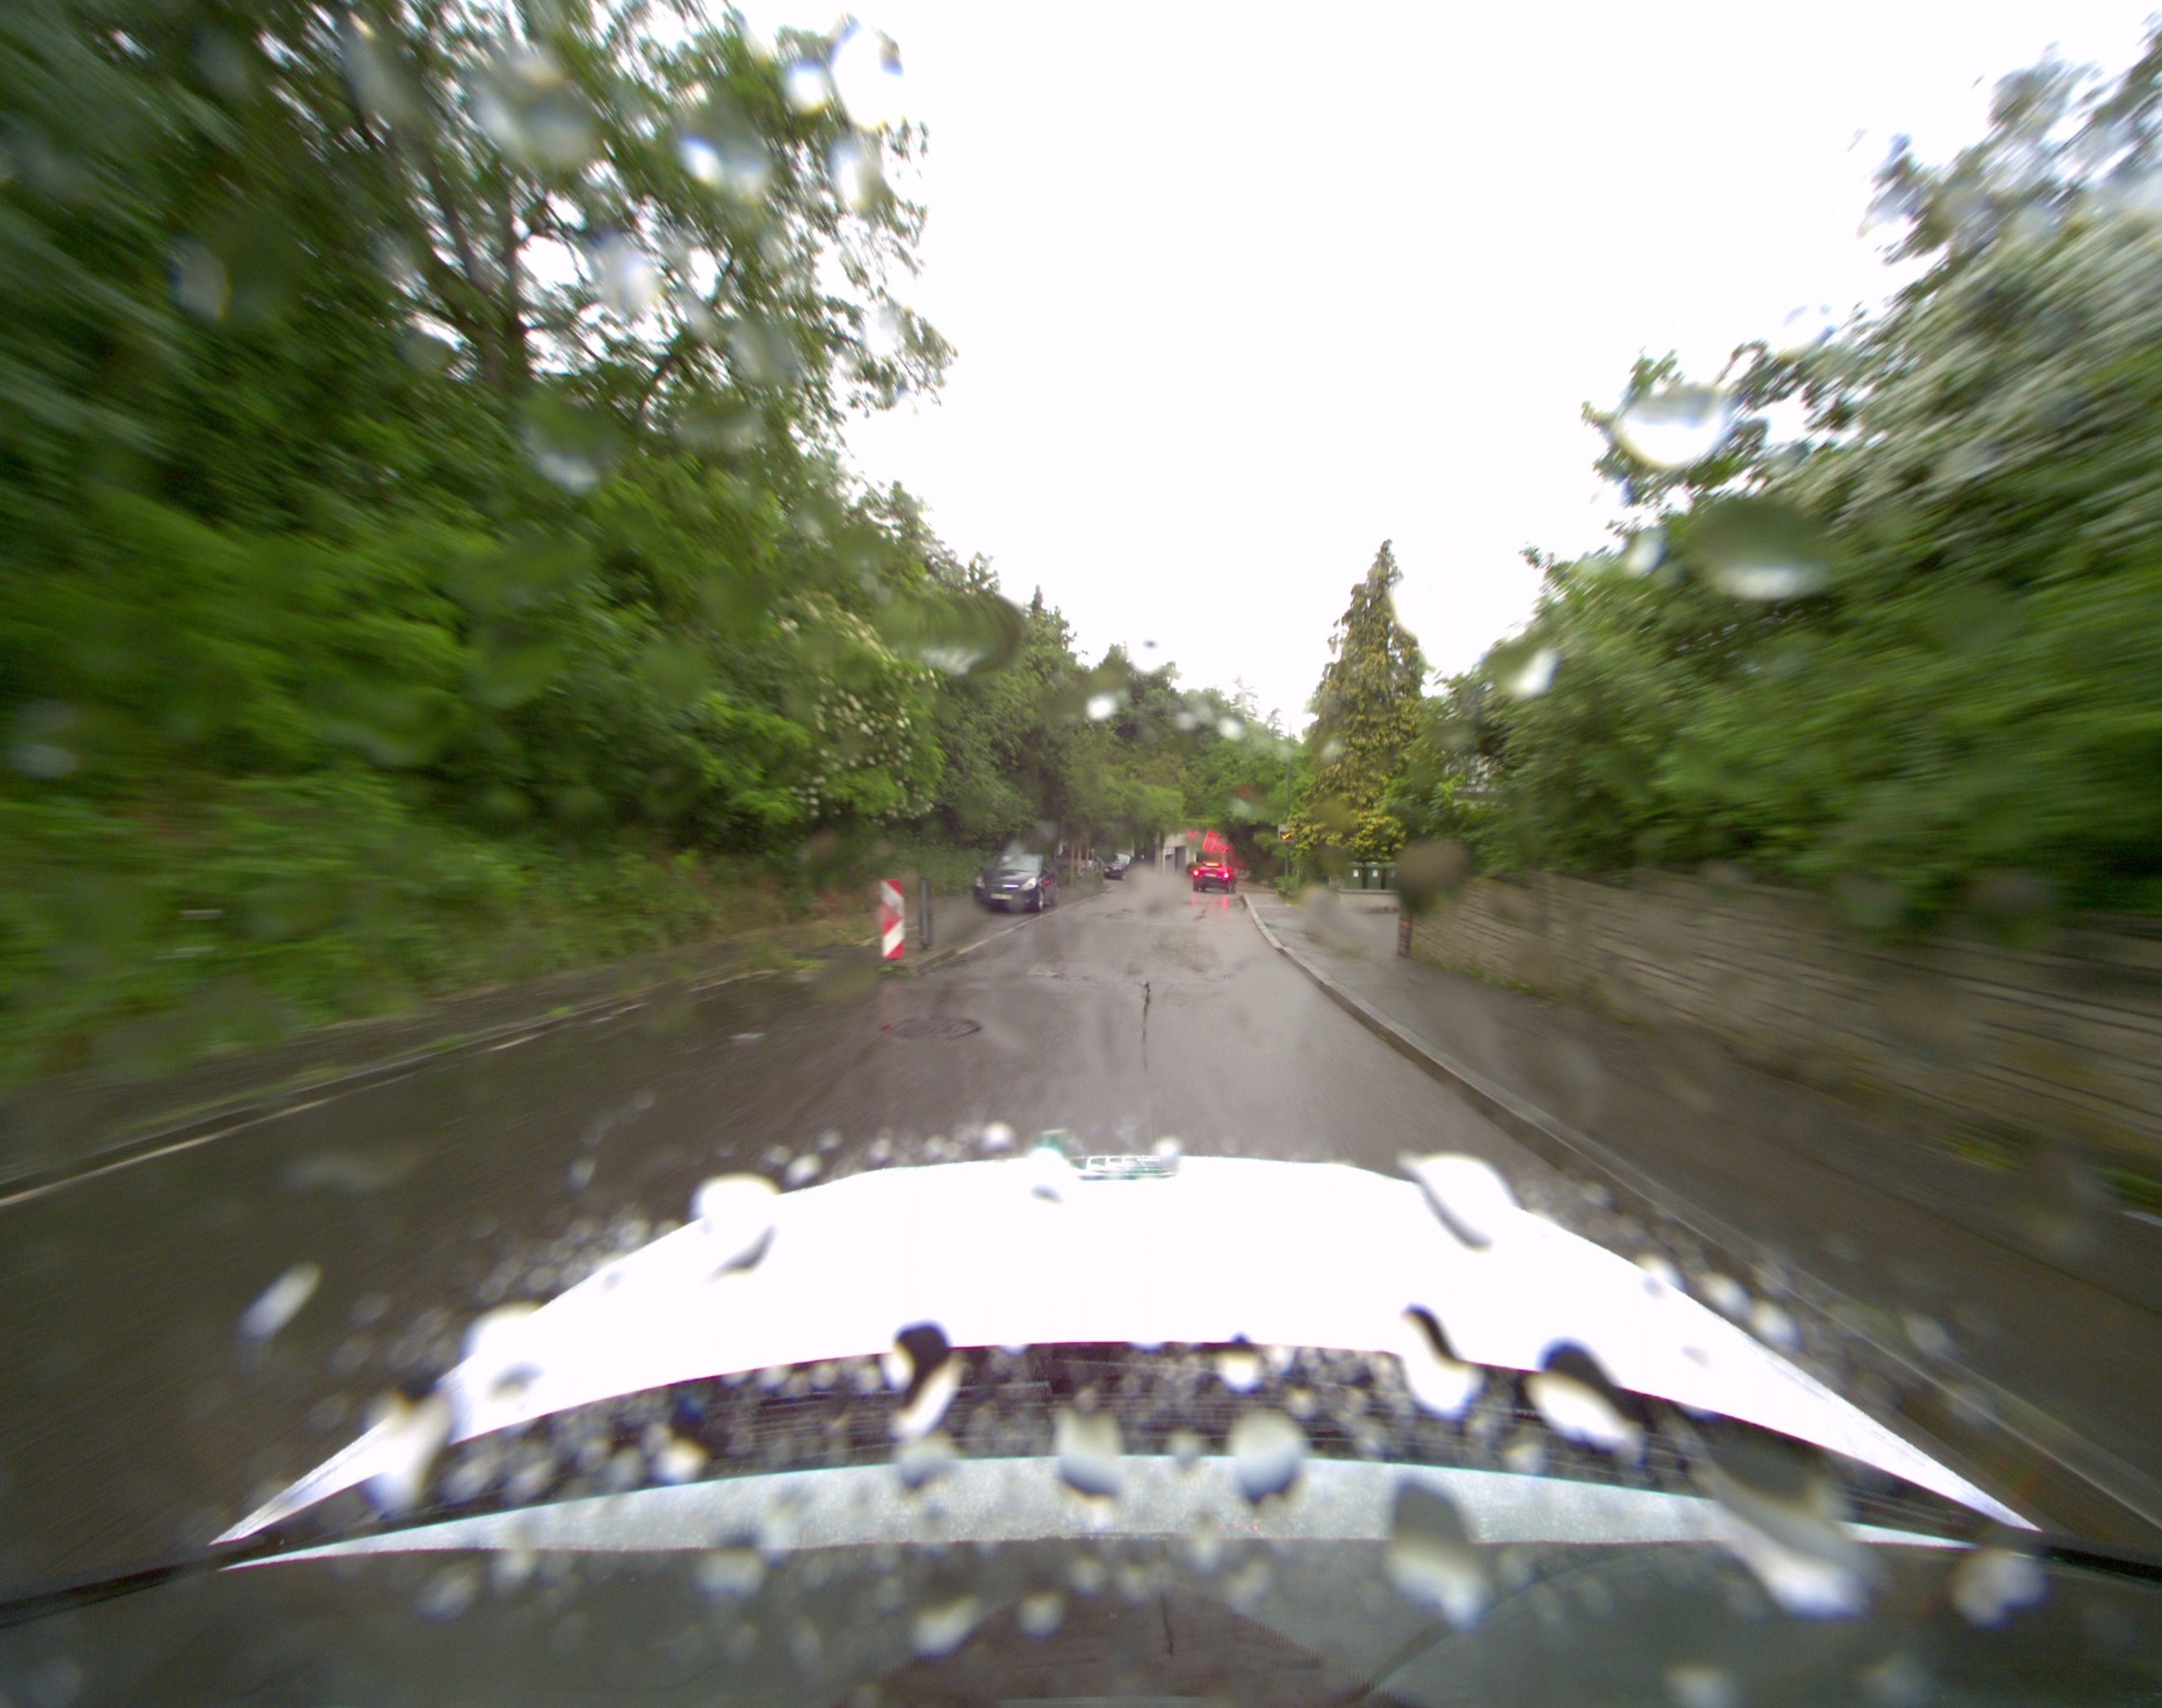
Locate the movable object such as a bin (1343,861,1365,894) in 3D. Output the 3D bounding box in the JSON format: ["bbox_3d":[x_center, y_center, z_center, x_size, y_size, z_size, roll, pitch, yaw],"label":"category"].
[{"bbox_3d":[9.159,0.782,27.326,0.558,1.067,0.703,0,0,7],"label":"movable object such as a bin"}]

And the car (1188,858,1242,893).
[{"bbox_3d":[6.578,1.040,39.712,1.853,1.512,4.111,3,-1,19],"label":"car"}]

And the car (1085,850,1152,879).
[{"bbox_3d":[2.137,0.582,45.073,1.975,1.508,4.597,1,0,26],"label":"car"}]

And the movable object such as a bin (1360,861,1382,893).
[{"bbox_3d":[9.709,0.758,27.273,0.543,1.067,0.693,0,0,6],"label":"movable object such as a bin"}]

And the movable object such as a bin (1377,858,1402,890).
[{"bbox_3d":[10.295,0.668,27.217,0.623,1.067,0.703,0,0,6],"label":"movable object such as a bin"}]

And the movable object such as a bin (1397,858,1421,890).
[{"bbox_3d":[10.984,0.656,27.260,0.578,1.067,0.703,0,0,6],"label":"movable object such as a bin"}]

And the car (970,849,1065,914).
[{"bbox_3d":[-1.558,0.639,21.341,1.691,1.471,4.008,1,1,7],"label":"car"}]

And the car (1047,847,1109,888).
[{"bbox_3d":[-0.066,0.561,35.650,1.981,1.640,4.011,1,0,10],"label":"car"}]
